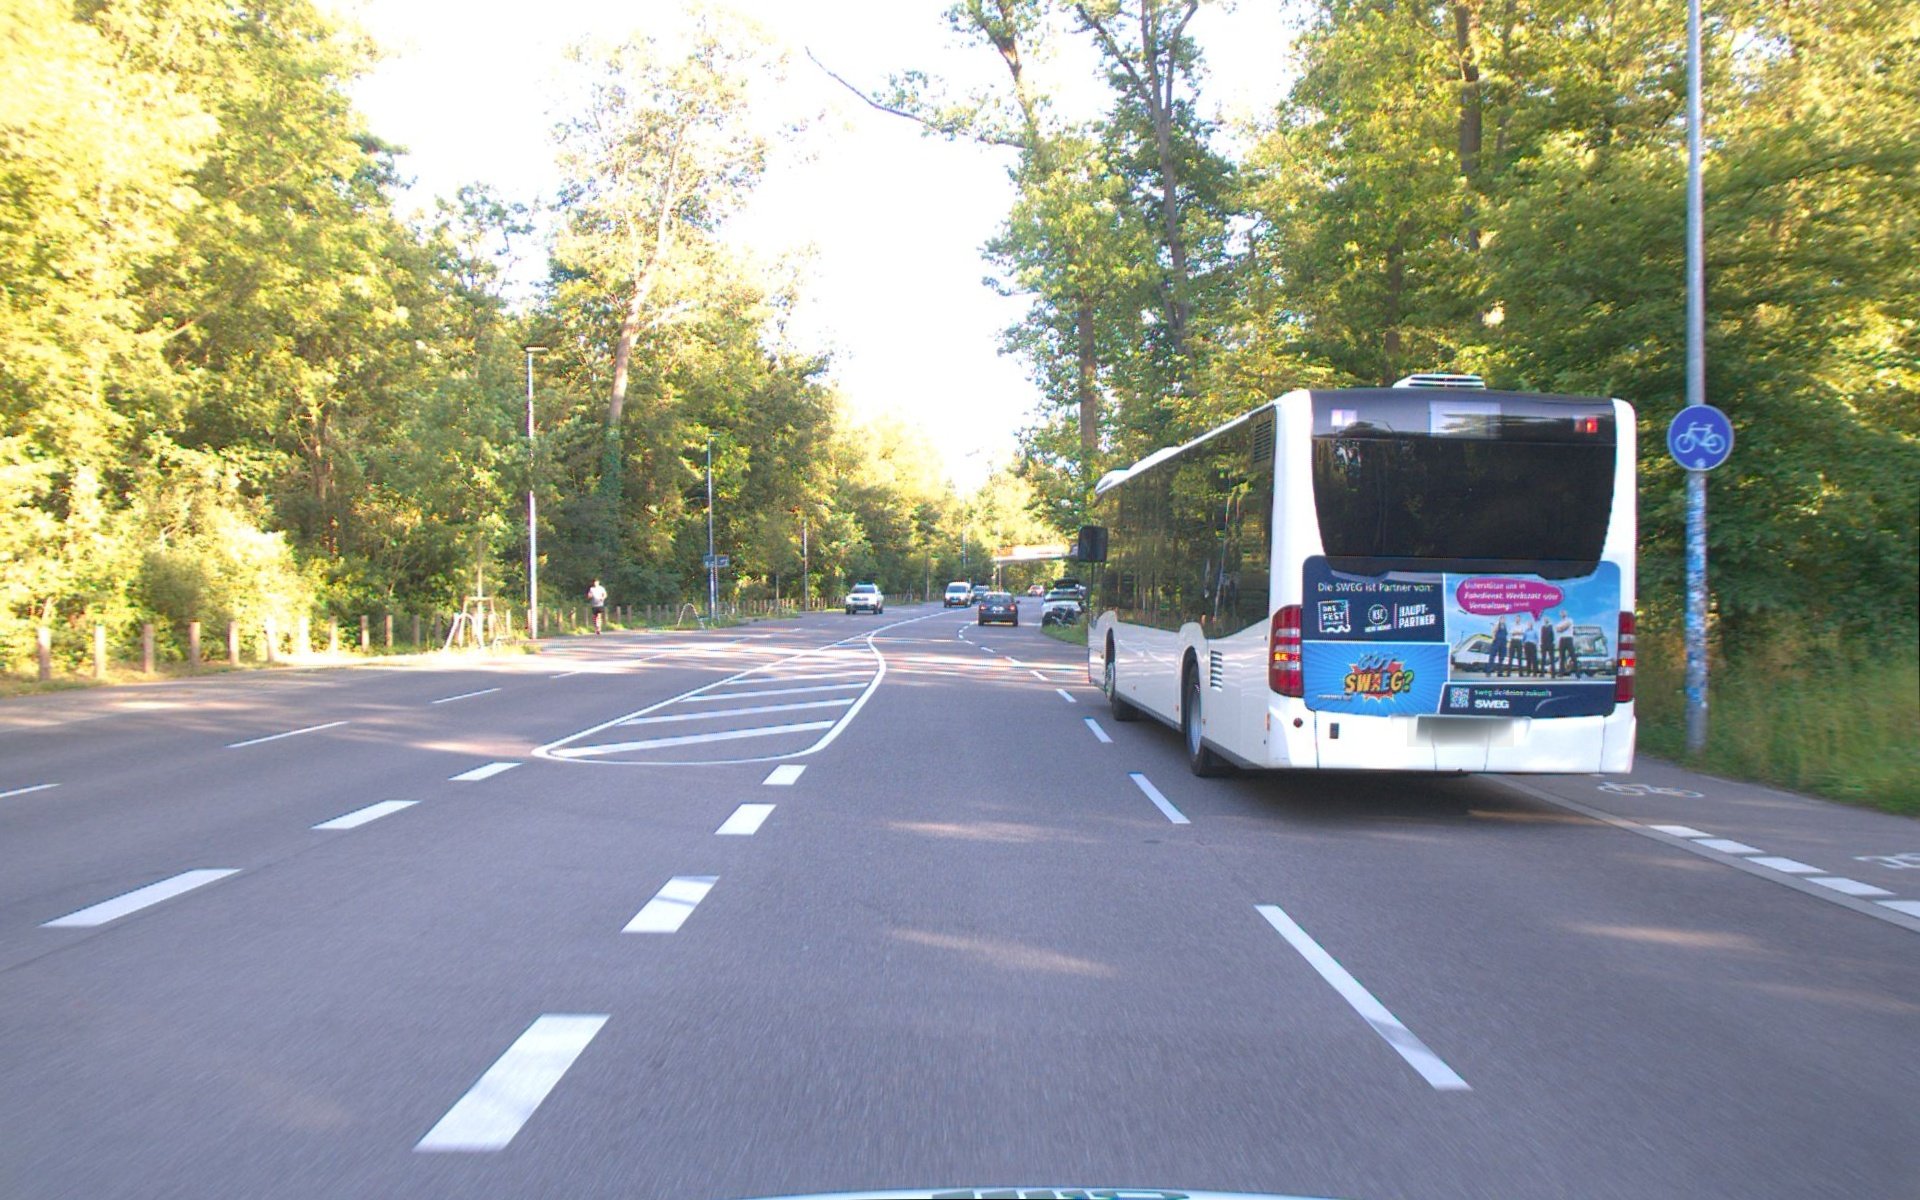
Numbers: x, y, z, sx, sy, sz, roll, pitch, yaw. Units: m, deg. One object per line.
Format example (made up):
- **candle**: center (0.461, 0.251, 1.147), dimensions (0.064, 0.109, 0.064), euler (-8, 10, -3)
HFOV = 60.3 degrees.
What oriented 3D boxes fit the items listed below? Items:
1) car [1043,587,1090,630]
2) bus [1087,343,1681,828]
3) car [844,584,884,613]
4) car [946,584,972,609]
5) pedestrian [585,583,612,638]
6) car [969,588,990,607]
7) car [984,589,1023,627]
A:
- **car**: center (4.381, 0.368, 67.792), dimensions (1.597, 1.688, 4.135), euler (0, 0, 8)
- **bus**: center (3.205, -0.052, 16.666), dimensions (2.635, 3.096, 12.037), euler (1, 0, -1)
- **car**: center (-5.375, -0.090, 92.894), dimensions (1.824, 1.564, 4.133), euler (1, 0, 3)
- **car**: center (-0.087, -0.244, 121.840), dimensions (1.825, 1.759, 3.999), euler (1, 0, 0)
- **pedestrian**: center (-12.270, 0.347, 56.140), dimensions (0.763, 1.844, 0.770), euler (0, 0, -1)
- **car**: center (1.698, -0.229, 145.752), dimensions (1.824, 1.592, 4.000), euler (1, 0, 1)
- **car**: center (1.893, 0.346, 71.158), dimensions (1.598, 1.574, 4.133), euler (1, 0, 3)
